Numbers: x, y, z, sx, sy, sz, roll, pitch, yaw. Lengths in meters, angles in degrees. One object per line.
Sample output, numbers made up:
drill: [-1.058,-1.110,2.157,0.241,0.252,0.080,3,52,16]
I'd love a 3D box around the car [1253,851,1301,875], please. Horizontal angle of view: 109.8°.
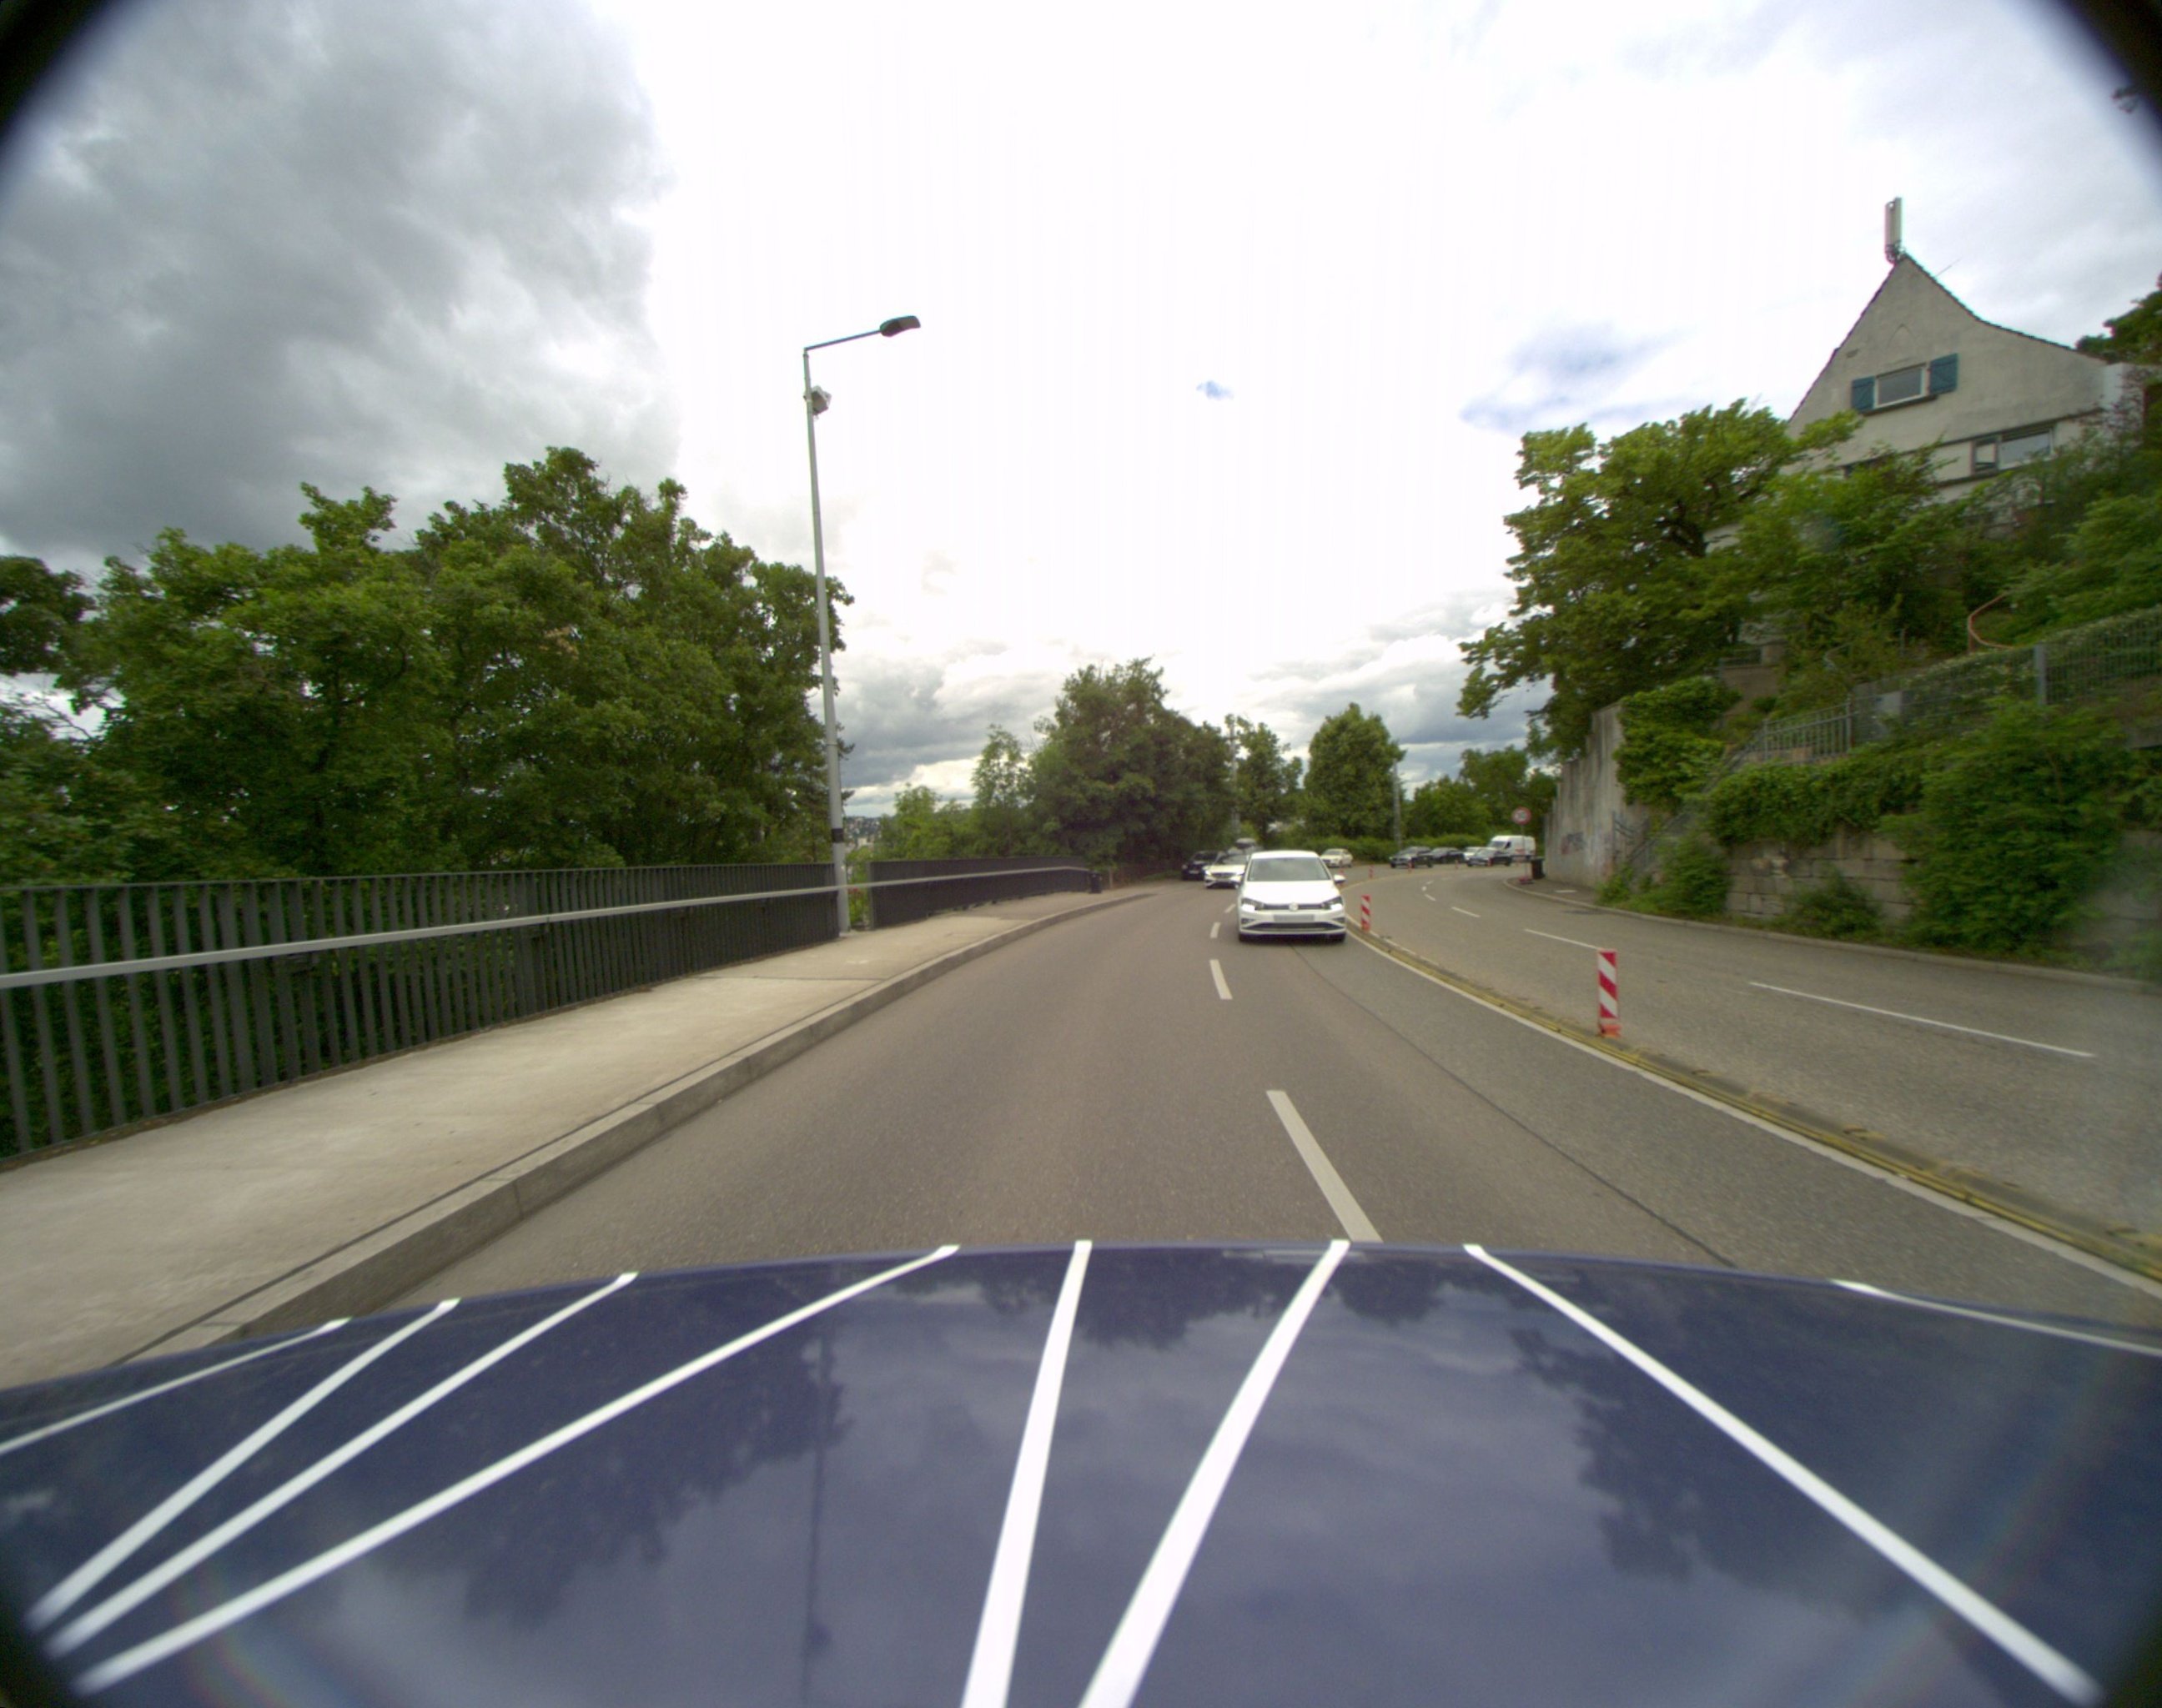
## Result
car: [12.679,0.565,49.008,1.929,1.425,4.008,0,1,32]

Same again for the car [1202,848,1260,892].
car: [6.556,0.631,32.924,1.996,1.708,4.004,-1,1,17]

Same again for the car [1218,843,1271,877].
car: [9.515,0.290,43.958,1.694,1.822,4.412,2,2,30]

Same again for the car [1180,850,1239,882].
car: [6.636,0.596,38.897,1.694,1.513,3.925,2,1,30]

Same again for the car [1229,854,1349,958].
car: [3.726,0.833,14.272,1.824,1.571,4.359,-1,1,11]

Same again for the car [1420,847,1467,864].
car: [32.388,0.129,67.813,4.106,1.425,1.929,-1,1,-34]

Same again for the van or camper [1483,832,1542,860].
van or camper: [42.205,-0.800,74.333,5.429,2.613,2.262,-1,1,-25]

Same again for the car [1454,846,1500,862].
car: [37.148,0.018,71.209,4.105,1.425,1.872,-1,1,-30]

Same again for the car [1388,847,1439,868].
car: [25.527,0.274,58.328,4.149,1.485,1.897,-2,1,-39]

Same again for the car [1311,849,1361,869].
car: [19.345,0.330,57.580,4.008,1.425,1.929,-1,2,-44]

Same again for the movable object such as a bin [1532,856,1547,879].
movable object such as a bin: [19.777,0.589,32.769,0.527,0.957,0.460,0,1,31]

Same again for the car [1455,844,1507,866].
car: [32.637,0.065,61.963,4.147,1.485,1.920,-4,2,-32]

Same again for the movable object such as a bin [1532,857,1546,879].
movable object such as a bin: [20.125,0.602,33.371,0.527,0.957,0.401,0,1,31]
